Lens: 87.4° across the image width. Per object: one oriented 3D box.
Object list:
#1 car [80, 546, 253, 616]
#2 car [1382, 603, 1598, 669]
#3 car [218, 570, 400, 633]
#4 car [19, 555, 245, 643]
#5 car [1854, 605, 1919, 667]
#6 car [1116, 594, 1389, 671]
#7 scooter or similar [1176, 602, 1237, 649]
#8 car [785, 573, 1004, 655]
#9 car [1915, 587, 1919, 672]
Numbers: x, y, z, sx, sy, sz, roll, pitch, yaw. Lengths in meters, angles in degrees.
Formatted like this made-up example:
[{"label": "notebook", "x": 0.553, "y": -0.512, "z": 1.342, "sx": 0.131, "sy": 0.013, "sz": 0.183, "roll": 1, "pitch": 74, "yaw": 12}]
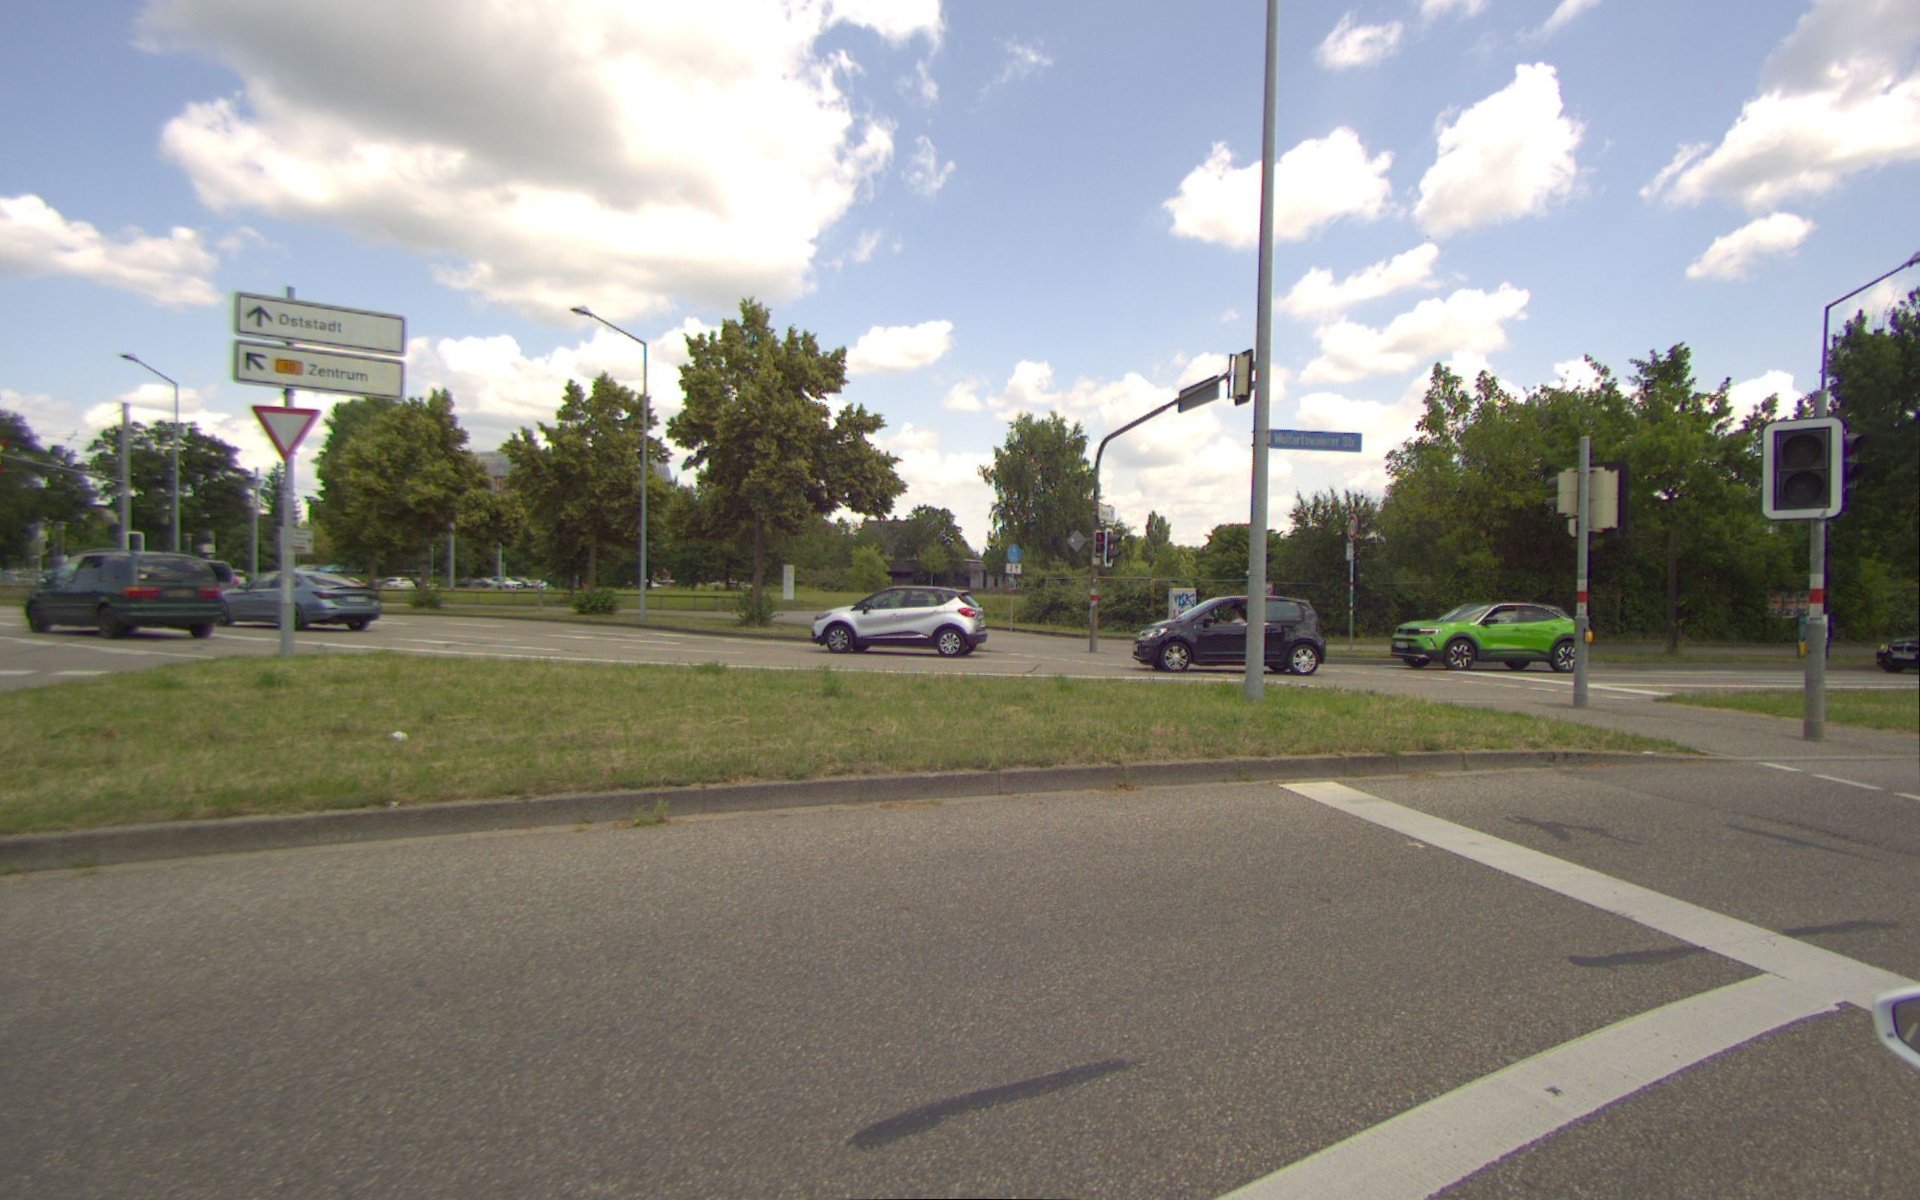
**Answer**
[{"label": "car", "x": -24.954, "y": -0.621, "z": 31.607, "sx": 4.692, "sy": 2.041, "sz": 2.000, "roll": 1, "pitch": 1, "yaw": 18}, {"label": "car", "x": 11.752, "y": 0.799, "z": 22.374, "sx": 4.093, "sy": 1.366, "sz": 1.619, "roll": 1, "pitch": -1, "yaw": -8}, {"label": "car", "x": -16.486, "y": 0.006, "z": 25.440, "sx": 4.111, "sy": 1.442, "sz": 1.910, "roll": 1, "pitch": 1, "yaw": 23}, {"label": "car", "x": -17.028, "y": -0.066, "z": 20.645, "sx": 4.506, "sy": 1.614, "sz": 1.912, "roll": 2, "pitch": 1, "yaw": 26}, {"label": "car", "x": 24.916, "y": 0.907, "z": 24.775, "sx": 4.336, "sy": 1.462, "sz": 1.842, "roll": 1, "pitch": -1, "yaw": -6}, {"label": "car", "x": 5.481, "y": 0.604, "z": 19.270, "sx": 4.693, "sy": 1.328, "sz": 1.844, "roll": 1, "pitch": -1, "yaw": 0}, {"label": "scooter or similar", "x": 6.405, "y": 0.669, "z": 26.099, "sx": 1.413, "sy": 1.182, "sz": 0.541, "roll": 1, "pitch": 2, "yaw": -6}, {"label": "car", "x": -1.455, "y": 0.275, "z": 23.269, "sx": 4.690, "sy": 1.709, "sz": 2.001, "roll": 1, "pitch": 1, "yaw": 10}, {"label": "car", "x": 23.152, "y": 0.673, "z": 21.244, "sx": 4.701, "sy": 1.823, "sz": 1.841, "roll": 1, "pitch": -1, "yaw": -10}]
